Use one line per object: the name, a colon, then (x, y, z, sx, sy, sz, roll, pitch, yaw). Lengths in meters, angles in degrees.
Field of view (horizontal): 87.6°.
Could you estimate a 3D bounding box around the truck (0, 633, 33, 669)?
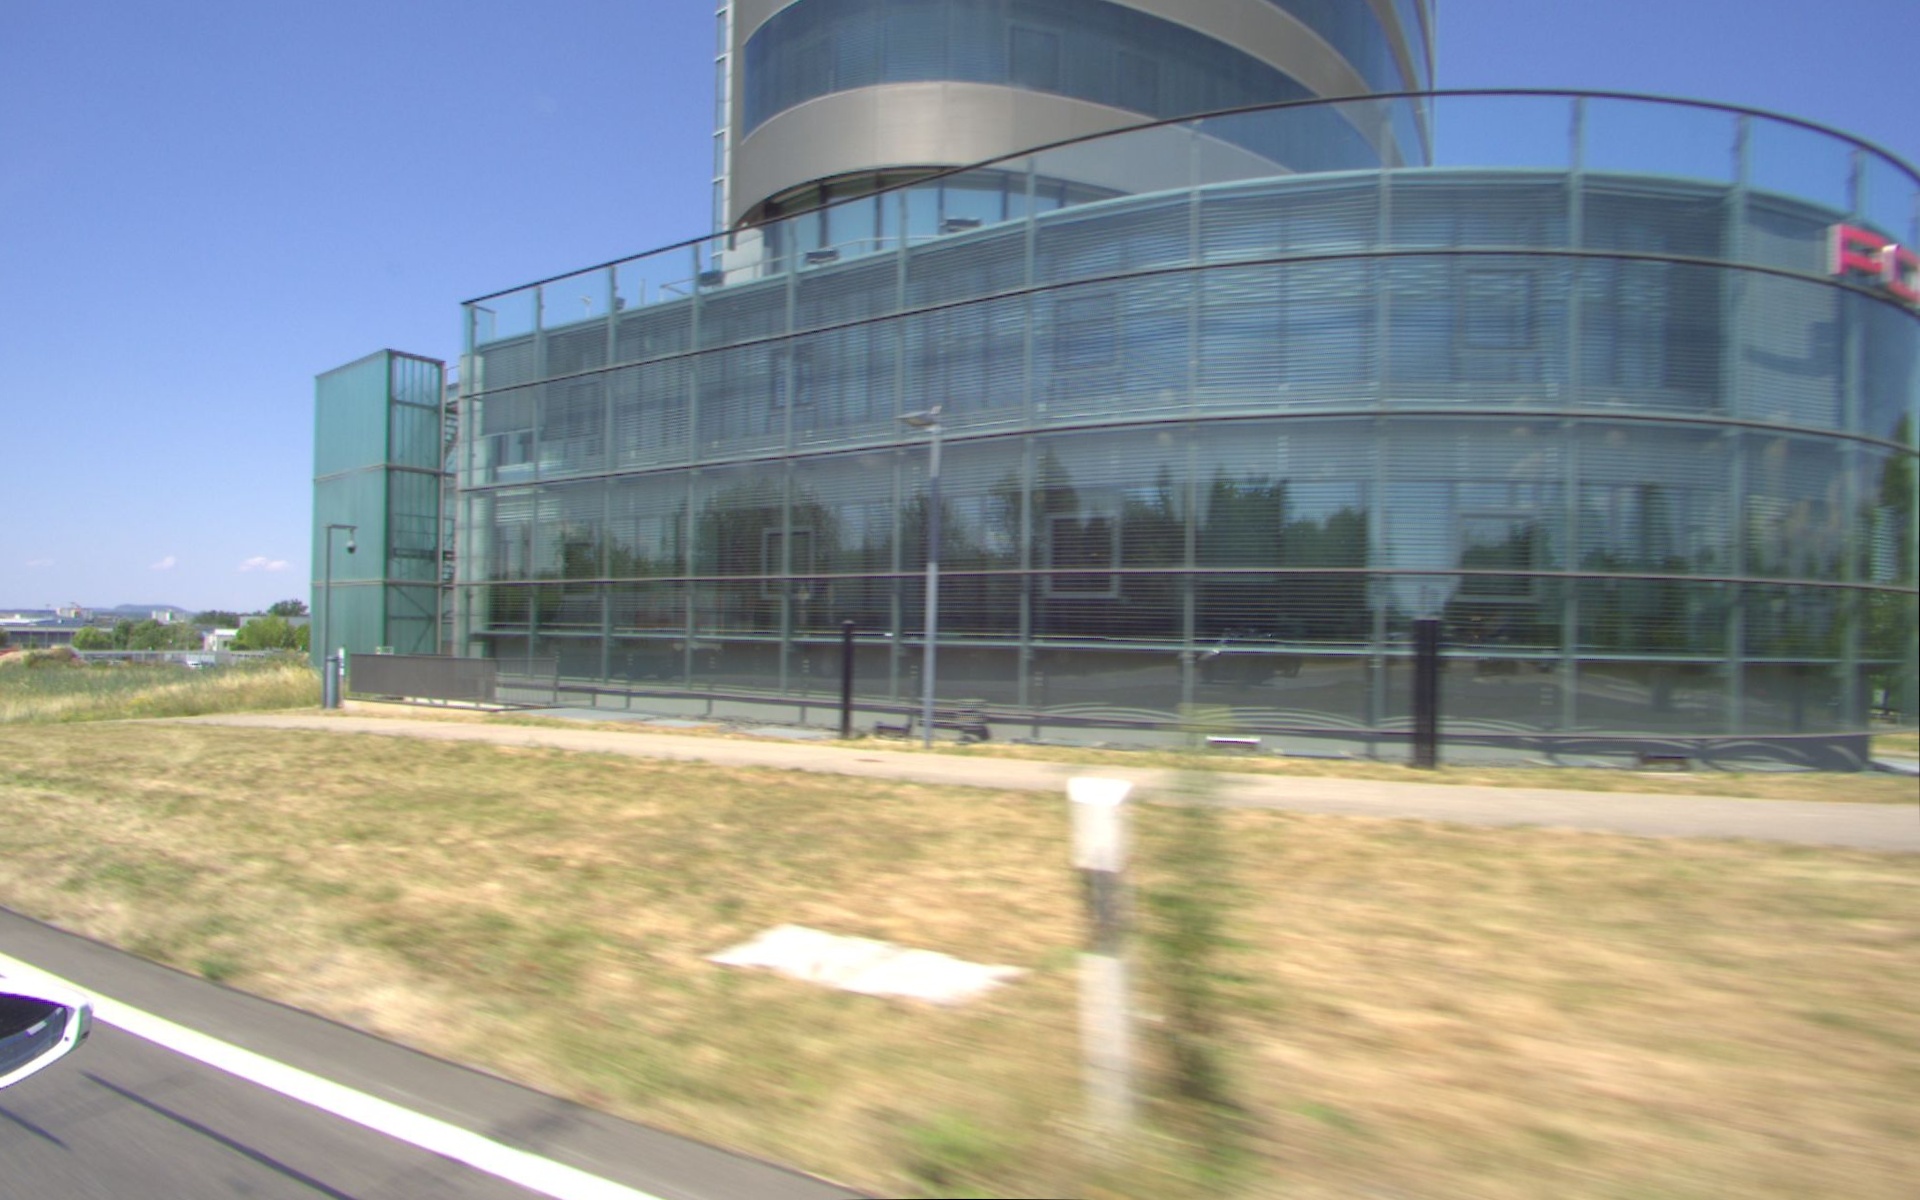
truck: (-104.200, 5.282, 105.210, 9.291, 3.731, 3.114, 3, -2, -31)
